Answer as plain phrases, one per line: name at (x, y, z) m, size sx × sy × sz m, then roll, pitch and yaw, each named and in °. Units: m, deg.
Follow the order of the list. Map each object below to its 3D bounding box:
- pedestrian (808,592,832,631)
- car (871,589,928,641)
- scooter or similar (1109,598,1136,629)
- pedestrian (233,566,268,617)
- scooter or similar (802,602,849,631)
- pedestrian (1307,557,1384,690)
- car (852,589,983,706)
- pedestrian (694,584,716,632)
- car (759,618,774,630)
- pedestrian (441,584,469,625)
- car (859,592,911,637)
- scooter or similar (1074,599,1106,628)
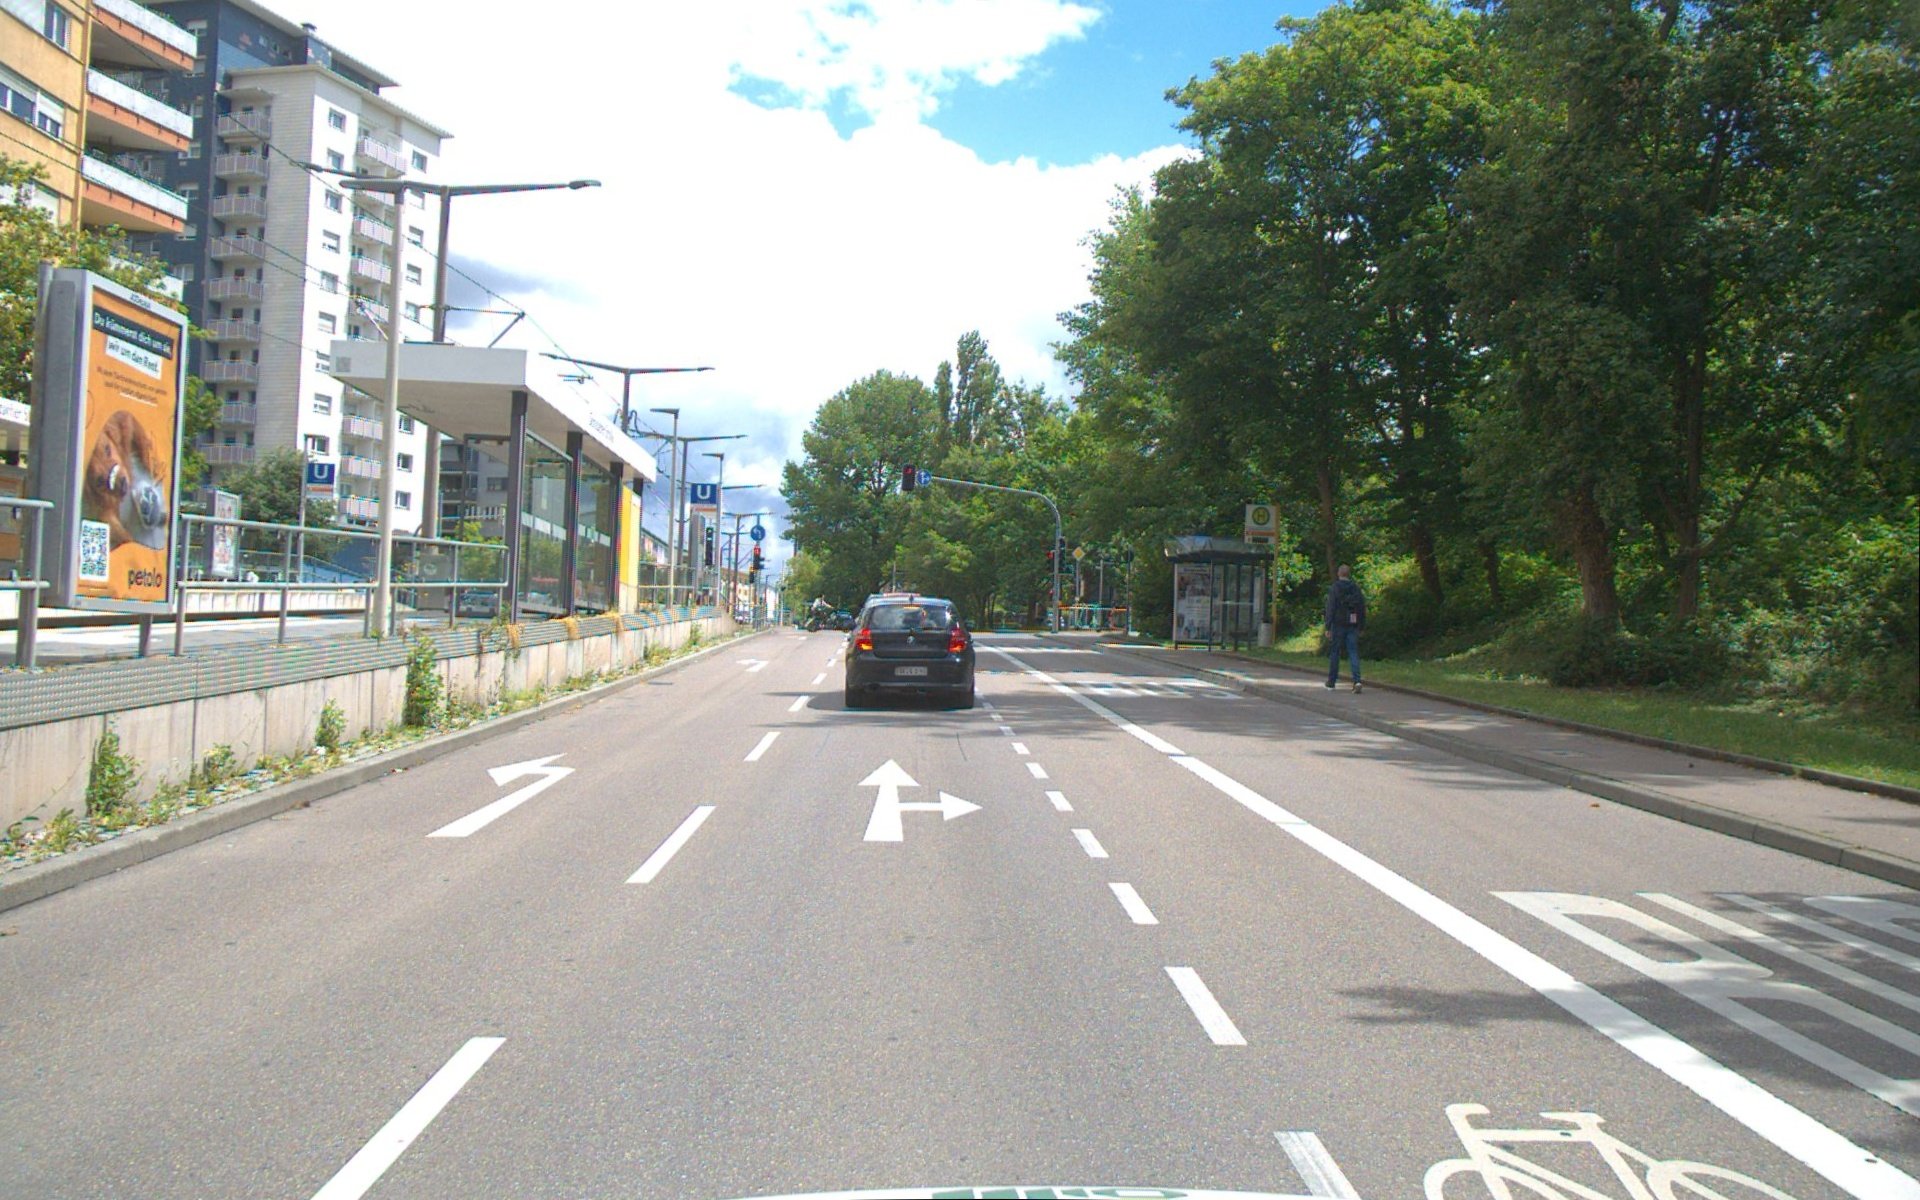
pedestrian at (-5.366, 0.427, 63.289) m, size 0.847 × 1.468 × 0.798 m, roll 1°, pitch 0°, yaw -2°
car at (-1.740, 0.421, 48.091) m, size 1.562 × 1.443 × 3.516 m, roll 1°, pitch 0°, yaw -2°
scooter or similar at (6.749, 0.575, 68.751) m, size 1.088 × 1.280 × 0.330 m, roll 1°, pitch 0°, yaw -15°
pedestrian at (-24.584, -0.292, 57.295) m, size 0.839 × 1.726 × 0.690 m, roll 1°, pitch 0°, yaw 12°
scooter or similar at (-5.100, 0.644, 62.820) m, size 1.747 × 1.069 × 0.410 m, roll 1°, pitch 0°, yaw -9°
pedestrian at (5.800, 0.346, 24.931) m, size 0.785 × 1.928 × 1.270 m, roll 2°, pitch 0°, yaw -2°
car at (-0.552, 0.590, 22.416) m, size 1.621 × 1.443 × 3.516 m, roll 1°, pitch 0°, yaw -1°
pedestrian at (-8.724, 0.270, 56.618) m, size 0.687 × 1.661 × 0.637 m, roll 0°, pitch 0°, yaw -4°
car at (-27.323, 3.389, 233.654) m, size 1.928 × 1.624 × 3.996 m, roll 1°, pitch 0°, yaw -5°
pedestrian at (-16.988, 0.145, 55.671) m, size 0.680 × 1.366 × 0.851 m, roll 1°, pitch 0°, yaw -33°
car at (-2.532, 0.459, 54.905) m, size 1.622 × 1.443 × 3.514 m, roll 1°, pitch 0°, yaw -4°
scooter or similar at (5.325, 0.555, 67.879) m, size 1.268 × 1.210 × 0.383 m, roll 1°, pitch 0°, yaw -18°
